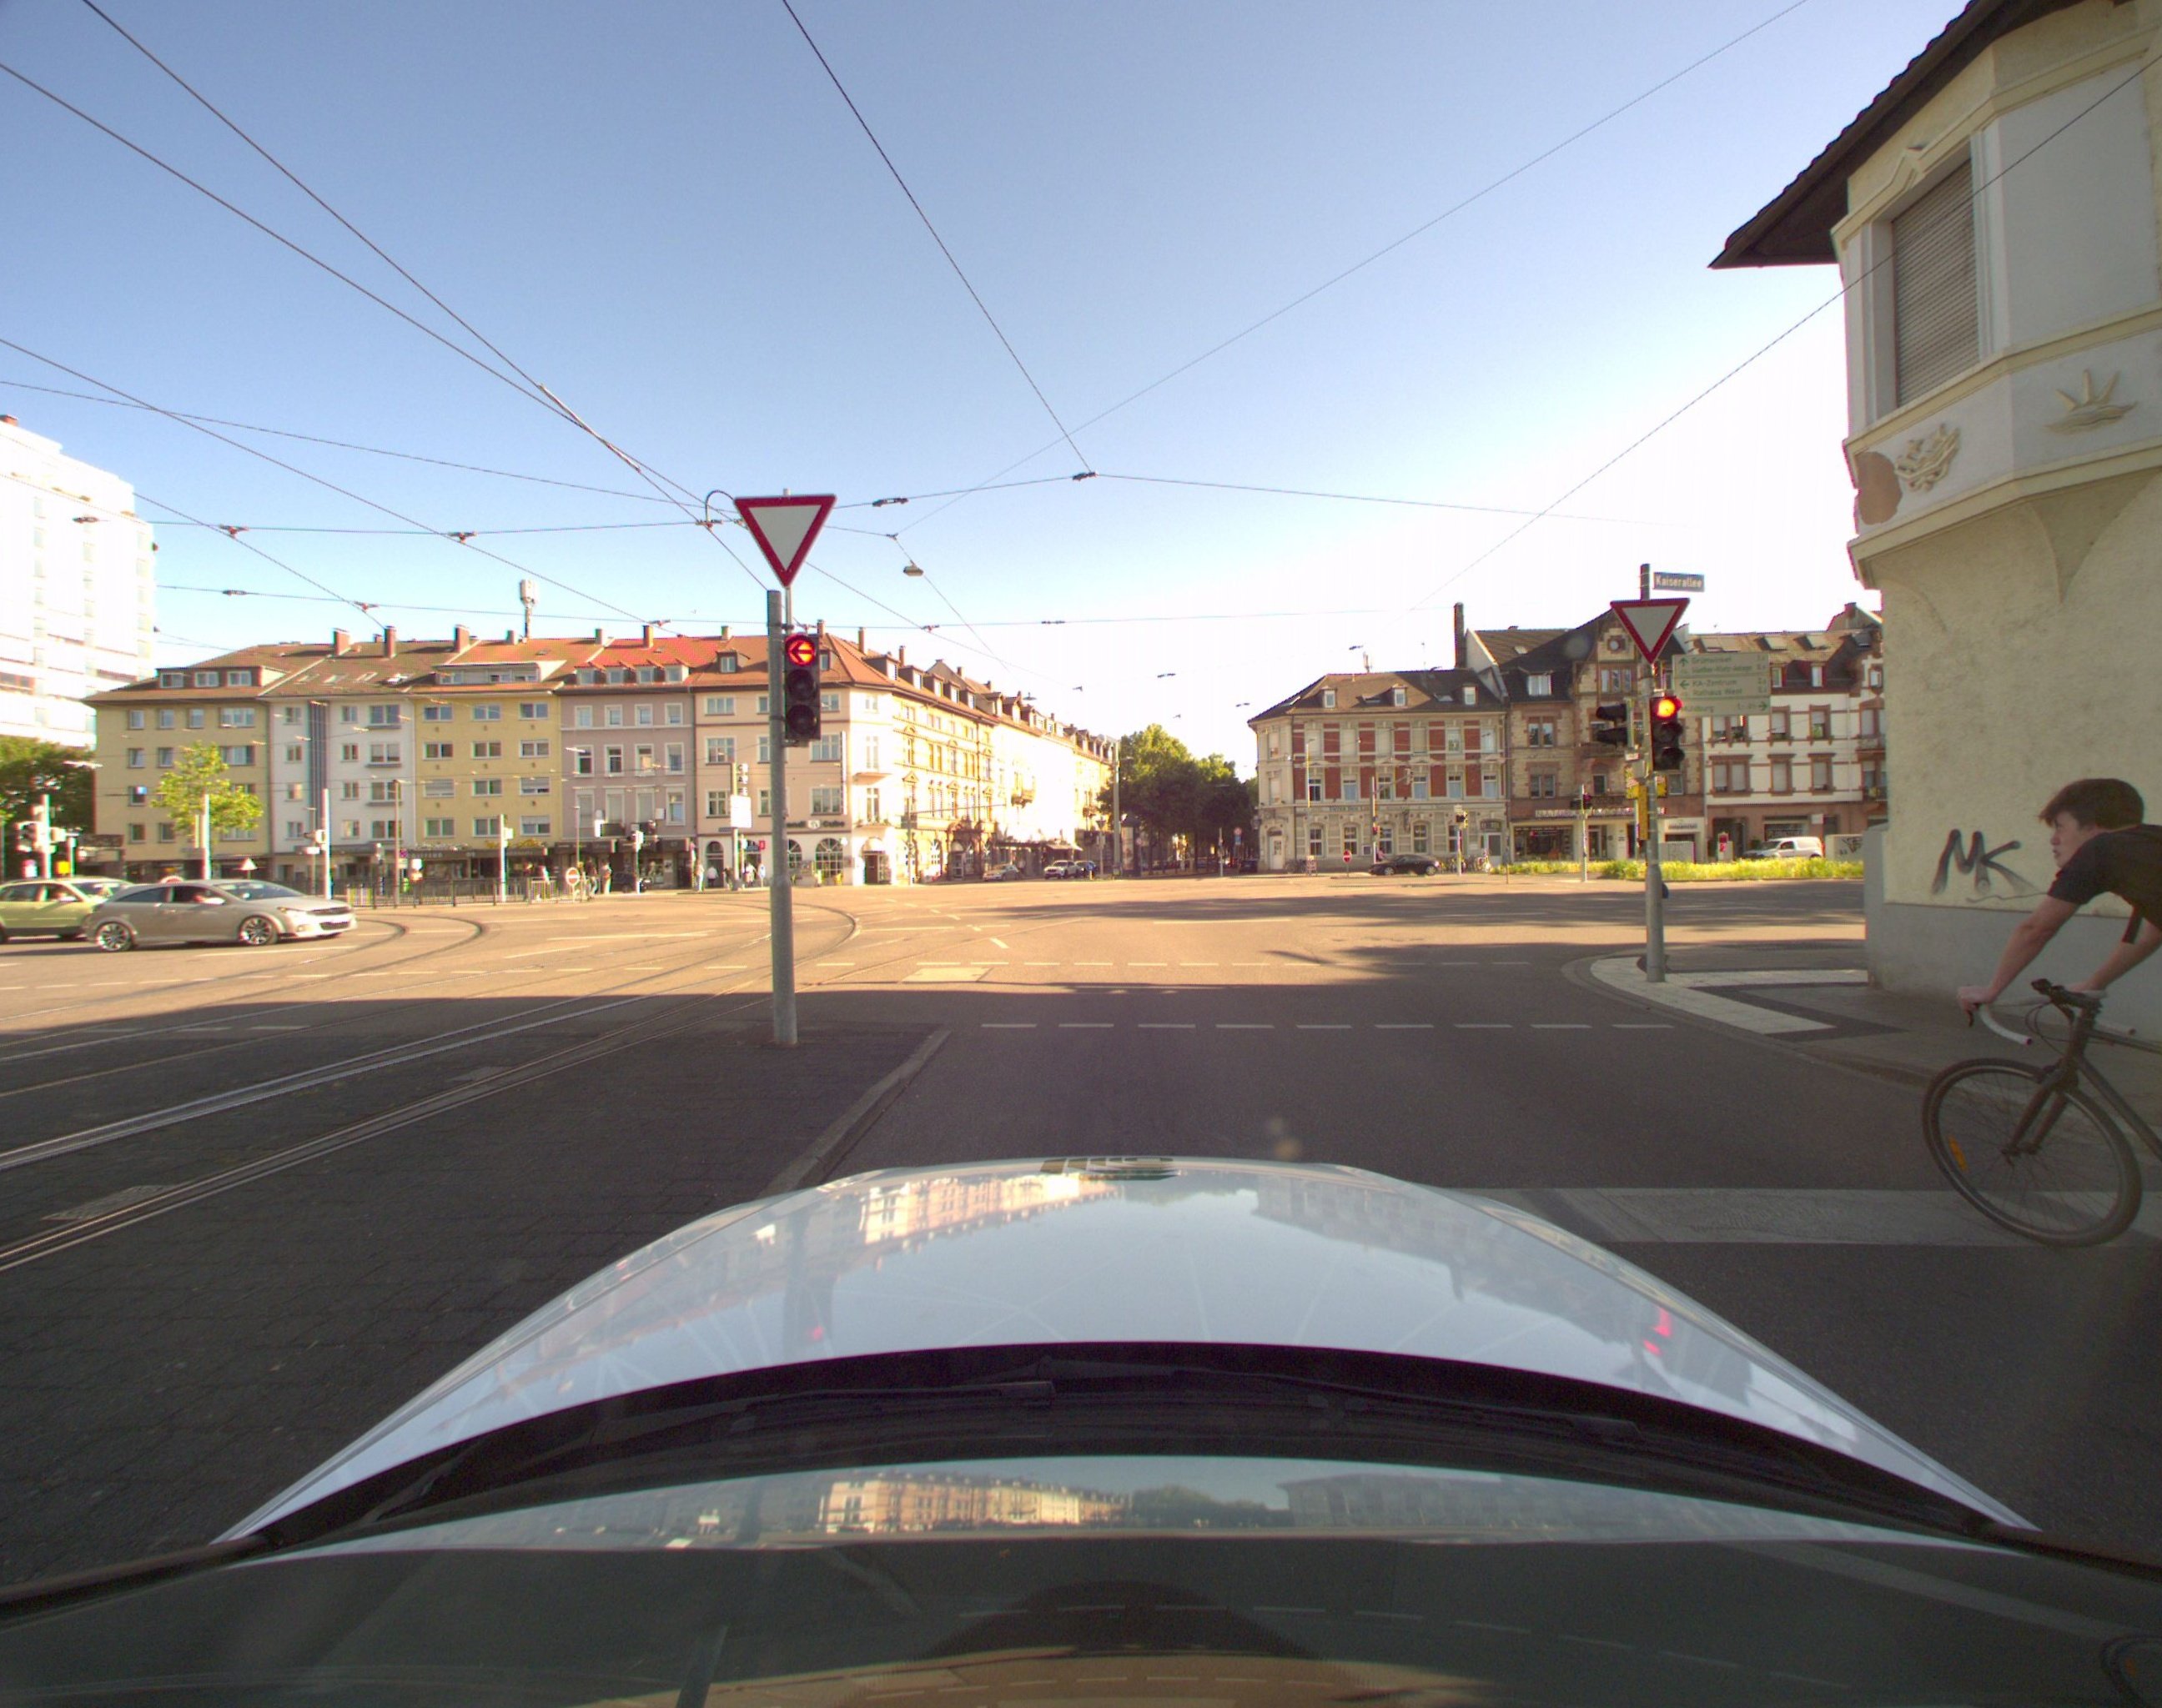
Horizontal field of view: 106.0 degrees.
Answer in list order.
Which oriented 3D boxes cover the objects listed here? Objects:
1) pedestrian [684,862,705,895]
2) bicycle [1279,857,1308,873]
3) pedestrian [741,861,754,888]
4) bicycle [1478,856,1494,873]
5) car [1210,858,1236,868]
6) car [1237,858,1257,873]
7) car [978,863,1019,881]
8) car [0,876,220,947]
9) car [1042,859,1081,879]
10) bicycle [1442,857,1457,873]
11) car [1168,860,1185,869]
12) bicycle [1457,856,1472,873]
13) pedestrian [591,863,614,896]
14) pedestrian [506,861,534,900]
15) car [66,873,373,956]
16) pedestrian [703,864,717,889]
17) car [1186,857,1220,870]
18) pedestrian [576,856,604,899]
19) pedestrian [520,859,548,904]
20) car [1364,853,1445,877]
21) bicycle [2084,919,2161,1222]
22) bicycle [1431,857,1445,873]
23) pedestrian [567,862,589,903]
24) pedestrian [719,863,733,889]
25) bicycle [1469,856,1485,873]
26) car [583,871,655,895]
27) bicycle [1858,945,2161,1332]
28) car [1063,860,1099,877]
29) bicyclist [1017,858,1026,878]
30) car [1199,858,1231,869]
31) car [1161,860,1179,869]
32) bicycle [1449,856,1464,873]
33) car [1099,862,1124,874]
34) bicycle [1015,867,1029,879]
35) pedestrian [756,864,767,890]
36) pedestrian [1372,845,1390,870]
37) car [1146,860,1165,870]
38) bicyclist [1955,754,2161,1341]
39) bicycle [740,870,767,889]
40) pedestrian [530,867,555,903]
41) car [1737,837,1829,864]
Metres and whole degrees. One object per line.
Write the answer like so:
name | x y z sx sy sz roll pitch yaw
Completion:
pedestrian | -19.989 1.270 42.141 0.738 1.682 0.628 -1 0 1
bicycle | 14.914 0.751 57.141 1.940 1.054 0.717 -1 0 11
pedestrian | -21.694 1.316 52.897 0.744 1.682 0.623 -1 0 -23
bicycle | 26.335 0.668 52.920 0.483 1.020 1.789 -1 0 12
car | 19.381 1.215 111.191 3.409 1.239 1.582 -1 0 13
car | 16.801 1.133 82.295 1.742 1.420 4.016 -1 0 14
car | -6.757 1.477 67.364 1.977 1.361 3.836 -1 0 18
car | -23.835 1.356 19.682 3.948 1.498 1.739 -1 0 -5
car | -1.588 1.218 67.670 1.977 1.516 4.189 -1 0 18
bicycle | 23.856 0.685 52.757 0.483 1.020 1.789 -1 0 12
car | 16.030 1.739 136.420 1.977 1.404 4.189 -1 0 18
bicycle | 24.819 0.678 52.716 0.483 1.020 1.789 -1 0 12
pedestrian | -24.903 1.306 42.380 0.764 1.682 0.628 -1 0 1
pedestrian | -24.057 1.144 34.926 0.738 1.635 0.572 -1 0 1
car | -17.826 1.208 17.037 4.262 1.440 1.738 -2 0 -6
pedestrian | -26.297 1.590 57.693 0.740 1.682 0.626 -1 0 -10
car | 14.963 1.156 99.509 3.959 1.454 1.687 -1 0 13
pedestrian | -21.302 1.016 35.336 0.764 1.829 0.723 -1 0 1
pedestrian | -23.154 1.167 34.476 0.625 1.850 0.778 -1 0 1
car | 18.943 0.617 47.766 4.044 1.300 1.723 -1 0 2
bicycle | 4.505 0.859 2.490 0.568 1.165 1.890 -1 0 2
bicycle | 23.161 0.723 52.876 0.483 1.020 1.789 -1 0 12
pedestrian | -22.497 1.265 36.420 0.558 1.786 0.560 -1 0 1
pedestrian | -23.073 1.408 52.932 0.744 1.682 0.623 -1 0 -23
bicycle | 25.630 0.672 52.765 0.483 1.020 1.789 -1 0 12
car | -30.344 1.898 53.535 3.711 1.491 1.820 0 -1 4
bicycle | 3.562 0.920 2.504 0.568 1.058 1.890 -1 0 2
car | 0.032 1.311 73.808 1.977 1.404 4.189 -1 0 18
bicyclist | -4.766 1.093 65.472 0.486 1.601 0.668 -1 0 12
car | 17.337 1.226 105.163 3.959 1.288 1.700 -1 0 13
car | 14.331 1.710 131.261 1.977 1.404 4.189 -1 0 18
bicycle | 24.316 0.682 52.807 0.483 1.020 1.789 -1 0 12
car | 3.833 1.712 102.176 1.977 1.404 4.189 -1 0 18
bicycle | -4.761 1.531 65.570 0.650 1.000 1.671 -1 -1 14
pedestrian | -15.787 1.133 40.220 0.364 1.253 0.449 -1 0 -10
pedestrian | 20.791 0.251 56.433 1.029 1.712 0.631 -1 -1 10
car | 11.201 1.690 122.503 1.977 1.404 4.189 -1 0 18
bicyclist | 3.560 0.577 2.502 0.649 1.767 0.995 -1 0 2
bicycle | -23.181 1.820 57.619 1.714 1.276 0.385 -1 0 -16
pedestrian | -24.366 1.412 36.851 0.696 1.581 0.560 -1 0 1
car | 45.293 -0.242 52.584 4.239 1.622 1.999 -1 0 -1
